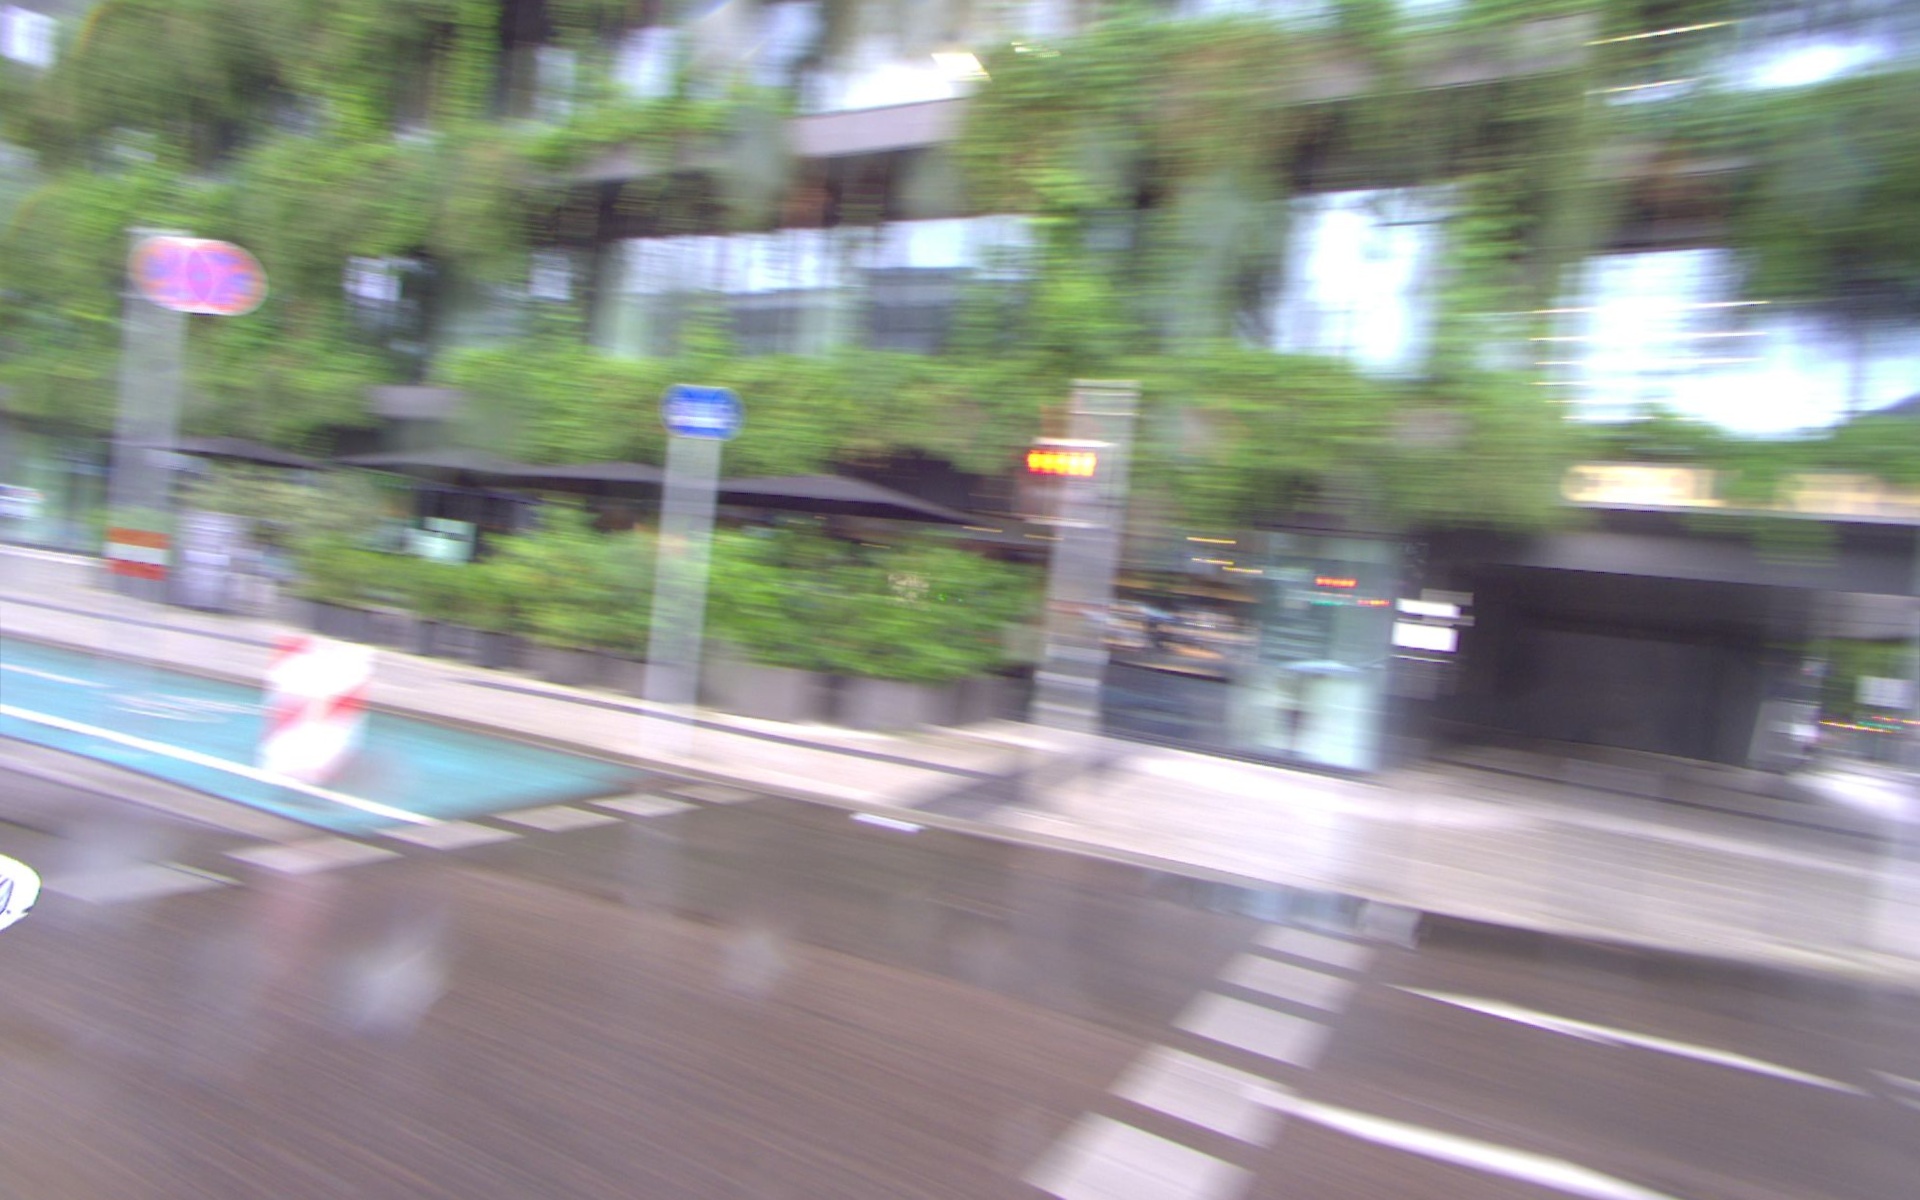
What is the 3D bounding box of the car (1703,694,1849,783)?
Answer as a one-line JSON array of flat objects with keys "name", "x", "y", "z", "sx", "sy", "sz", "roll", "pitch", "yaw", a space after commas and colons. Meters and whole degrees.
[{"name": "car", "x": 23.388, "y": 3.895, "z": 29.067, "sx": 2.082, "sy": 1.979, "sz": 4.866, "roll": 6, "pitch": -1, "yaw": 27}]
